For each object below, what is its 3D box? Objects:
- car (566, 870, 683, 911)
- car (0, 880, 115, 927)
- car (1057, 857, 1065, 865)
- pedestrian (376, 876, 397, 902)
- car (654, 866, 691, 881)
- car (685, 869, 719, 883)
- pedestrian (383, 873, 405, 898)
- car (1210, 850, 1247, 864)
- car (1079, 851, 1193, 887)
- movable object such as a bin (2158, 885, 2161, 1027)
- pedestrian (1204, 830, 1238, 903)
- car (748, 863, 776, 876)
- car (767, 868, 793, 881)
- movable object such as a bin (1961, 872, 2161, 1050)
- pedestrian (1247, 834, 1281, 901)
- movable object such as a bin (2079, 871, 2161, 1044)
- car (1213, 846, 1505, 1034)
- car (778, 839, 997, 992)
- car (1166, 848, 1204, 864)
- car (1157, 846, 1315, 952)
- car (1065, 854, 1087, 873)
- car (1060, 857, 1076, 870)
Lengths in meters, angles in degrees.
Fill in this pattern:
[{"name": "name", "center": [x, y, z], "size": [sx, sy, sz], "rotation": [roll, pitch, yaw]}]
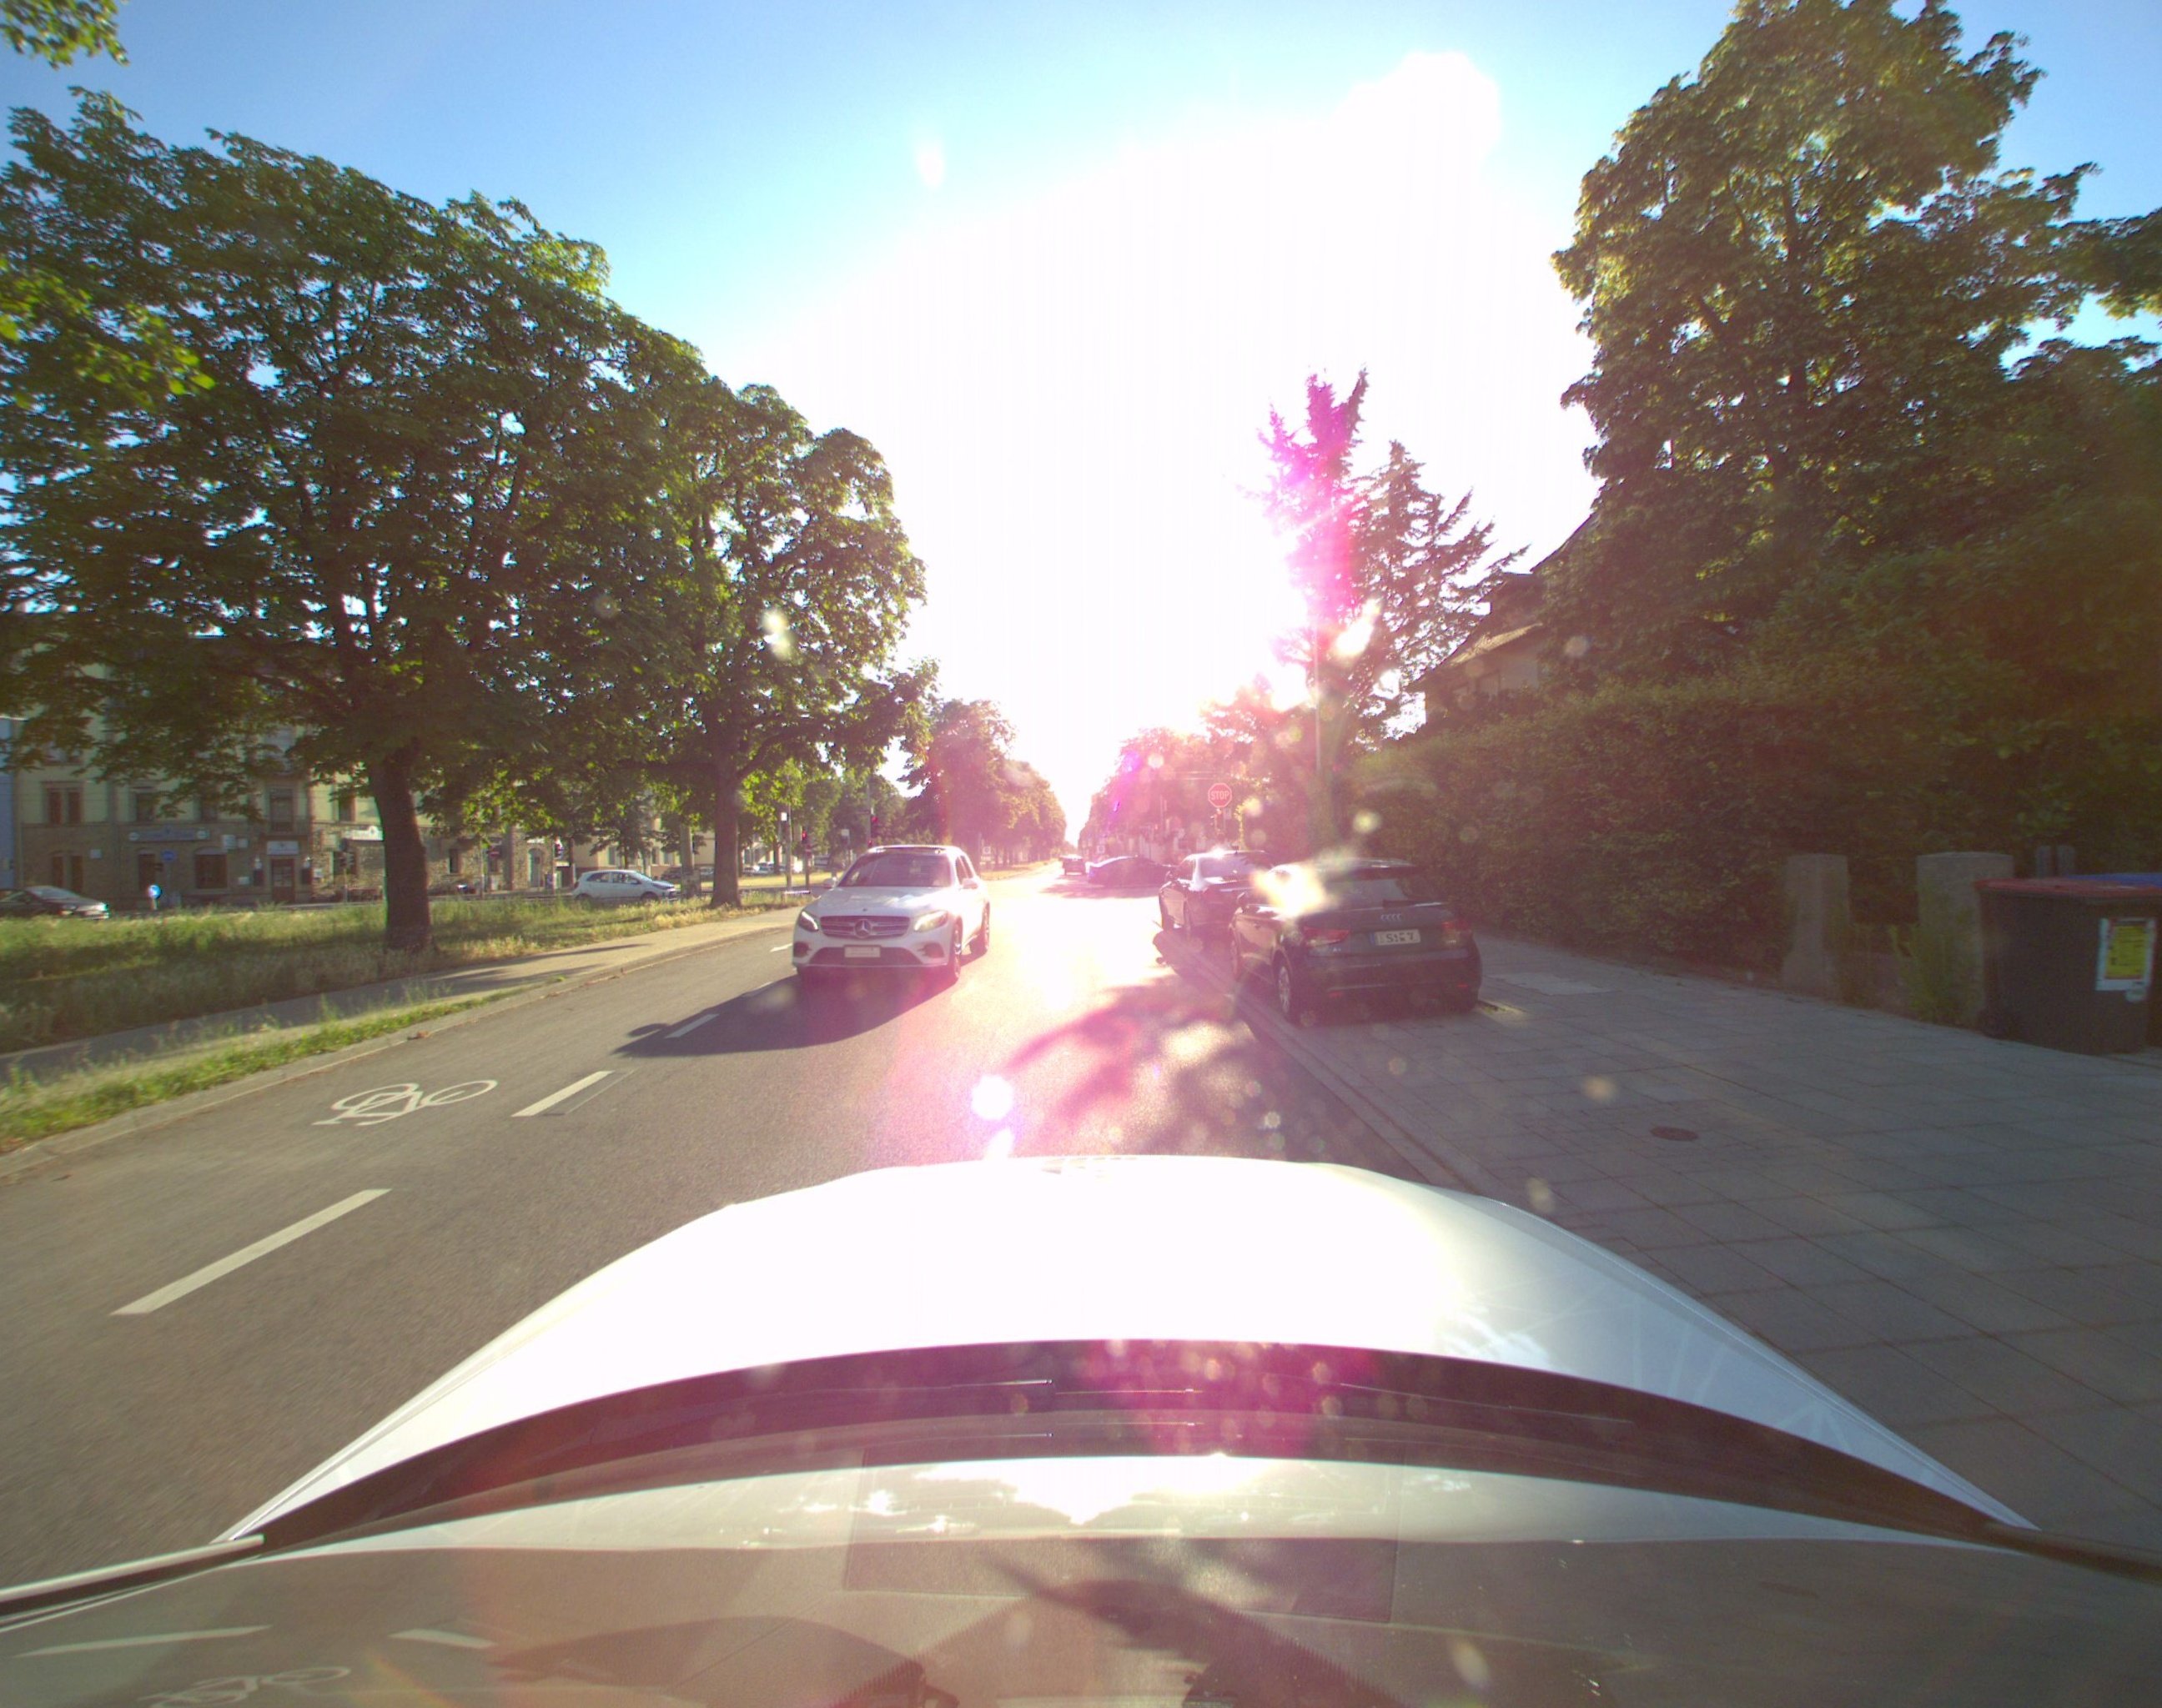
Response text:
[{"name": "car", "center": [-18.194, 1.433, 32.607], "size": [3.689, 1.488, 1.734], "rotation": [-1, 0, -12]}, {"name": "car", "center": [-37.330, 1.757, 28.910], "size": [3.600, 1.497, 1.605], "rotation": [-1, 0, -14]}, {"name": "car", "center": [-5.448, 1.913, 222.671], "size": [2.127, 2.013, 3.901], "rotation": [-1, 0, 0]}, {"name": "pedestrian", "center": [-45.469, 2.287, 53.304], "size": [0.724, 1.642, 0.812], "rotation": [-1, 0, -14]}, {"name": "car", "center": [-44.040, 2.071, 87.847], "size": [1.729, 1.397, 3.799], "rotation": [-1, 1, 6]}, {"name": "car", "center": [-43.758, 2.500, 94.095], "size": [1.729, 1.427, 3.799], "rotation": [-1, 1, 6]}, {"name": "pedestrian", "center": [-45.808, 2.078, 54.291], "size": [0.808, 1.642, 0.727], "rotation": [-1, 0, 8]}, {"name": "car", "center": [15.647, 0.307, 86.489], "size": [3.657, 1.427, 1.529], "rotation": [-1, 0, -5]}, {"name": "car", "center": [2.398, 0.647, 36.100], "size": [4.763, 1.434, 1.809], "rotation": [-1, 0, -9]}, {"name": "movable object such as a bin", "center": [7.437, 0.670, 5.185], "size": [0.507, 0.944, 0.501], "rotation": [-1, 0, -6]}, {"name": "pedestrian", "center": [3.639, 0.321, 21.271], "size": [0.669, 1.865, 0.880], "rotation": [-1, -1, -4]}, {"name": "car", "center": [-38.047, 1.892, 97.270], "size": [1.732, 1.427, 3.792], "rotation": [-1, 0, 0]}, {"name": "car", "center": [-38.151, 2.593, 103.316], "size": [1.732, 1.427, 3.792], "rotation": [-1, 1, 0]}, {"name": "movable object such as a bin", "center": [6.288, 0.650, 5.250], "size": [0.507, 1.043, 0.657], "rotation": [-1, 0, -6]}, {"name": "pedestrian", "center": [4.741, 0.351, 21.117], "size": [0.667, 1.708, 0.622], "rotation": [-1, 0, -4]}, {"name": "movable object such as a bin", "center": [6.851, 0.636, 5.181], "size": [0.507, 1.043, 0.416], "rotation": [-1, 0, -6]}, {"name": "car", "center": [2.576, 0.695, 8.572], "size": [1.636, 1.427, 3.935], "rotation": [-3, 0, -1]}, {"name": "car", "center": [-2.367, 0.683, 11.212], "size": [1.884, 1.676, 4.425], "rotation": [0, 0, 1]}, {"name": "car", "center": [11.041, 0.218, 86.619], "size": [3.768, 1.525, 1.743], "rotation": [-1, 1, -1]}, {"name": "car", "center": [2.538, 0.676, 14.575], "size": [1.853, 1.542, 4.872], "rotation": [-1, 0, 0]}, {"name": "car", "center": [-0.379, 0.781, 65.314], "size": [1.635, 1.451, 3.309], "rotation": [-1, 0, 2]}, {"name": "car", "center": [-1.514, 1.143, 99.283], "size": [1.839, 1.394, 3.828], "rotation": [-1, 0, 0]}]
